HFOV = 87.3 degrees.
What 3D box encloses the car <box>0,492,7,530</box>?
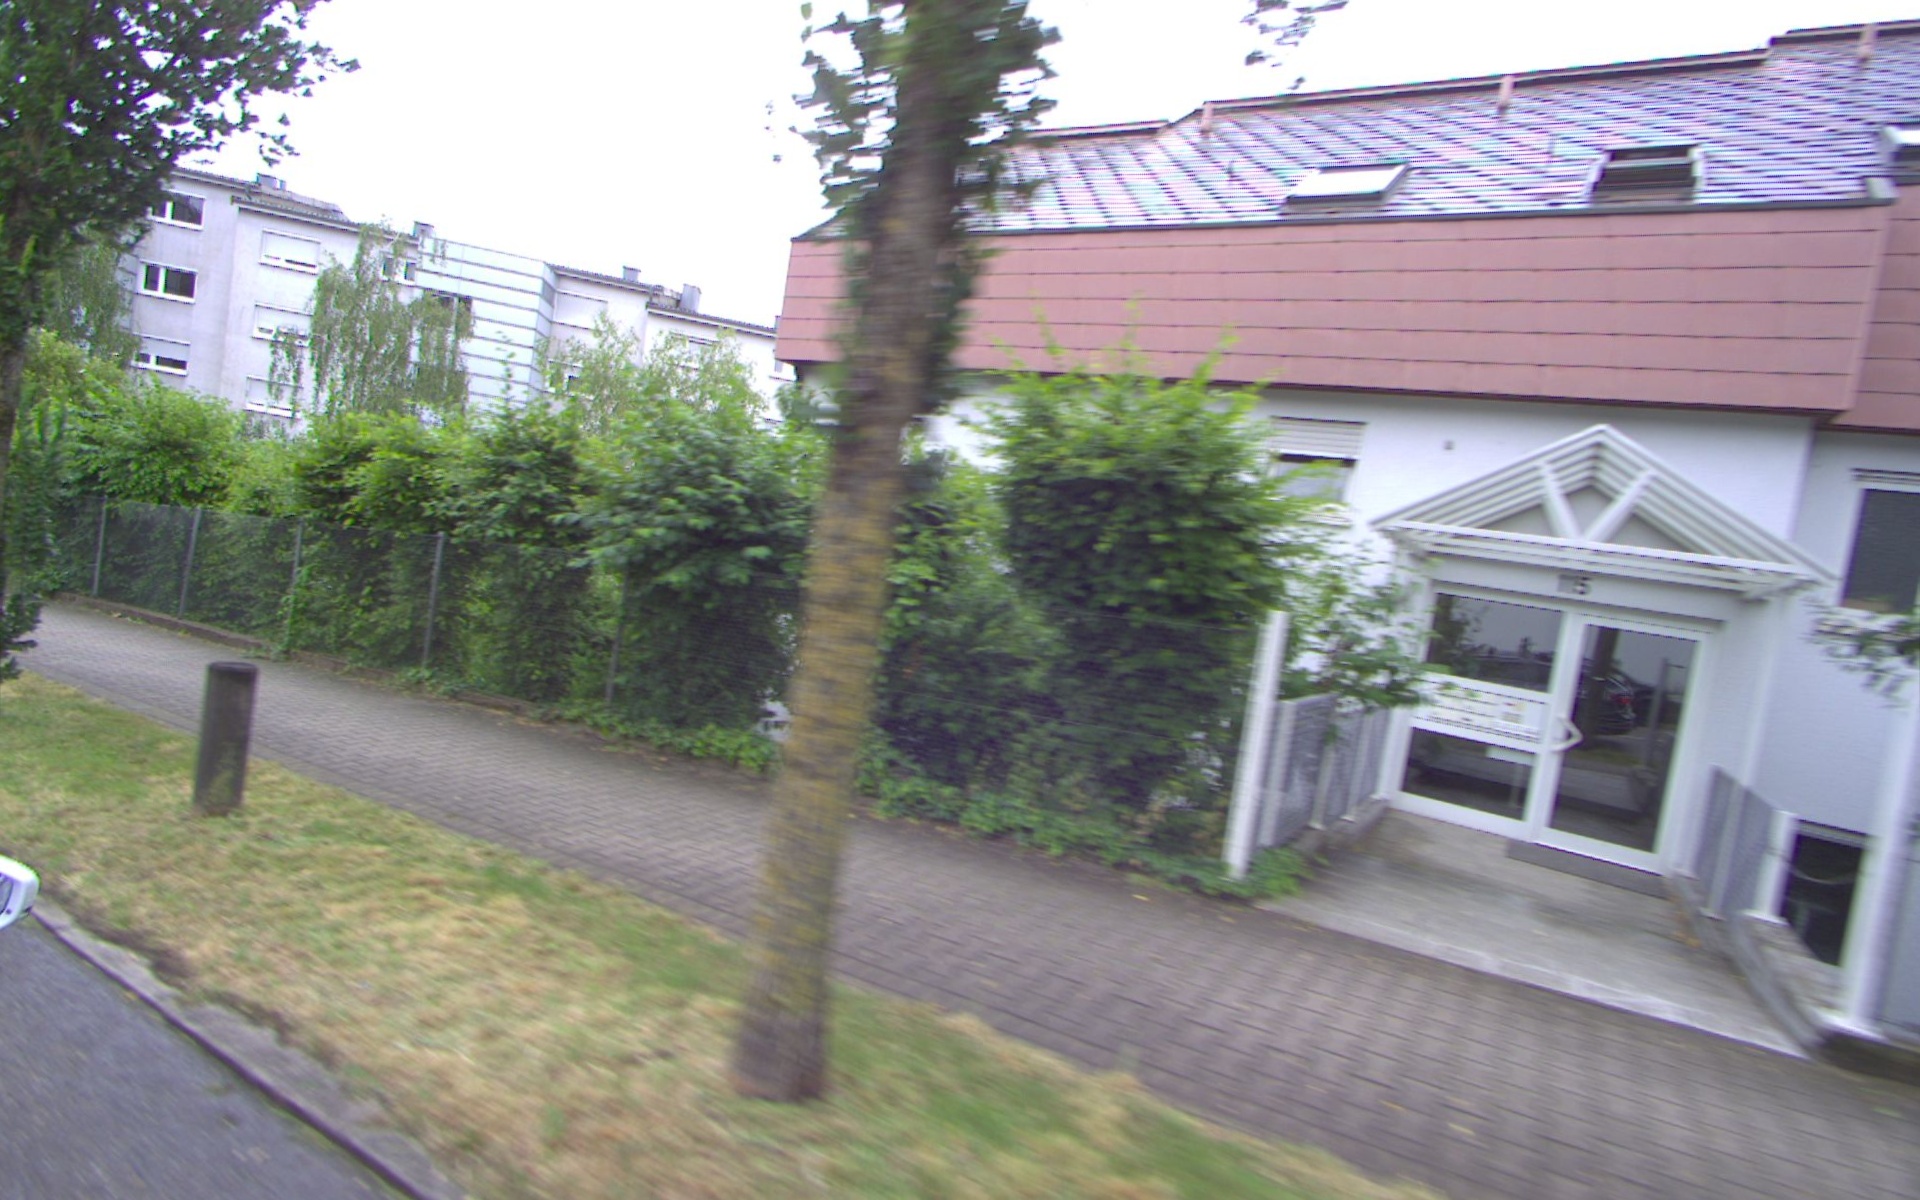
[{"bbox_3d":[-22.512,-1.884,21.789,3.932,1.450,1.508,8,-3,30],"label":"car"}]
